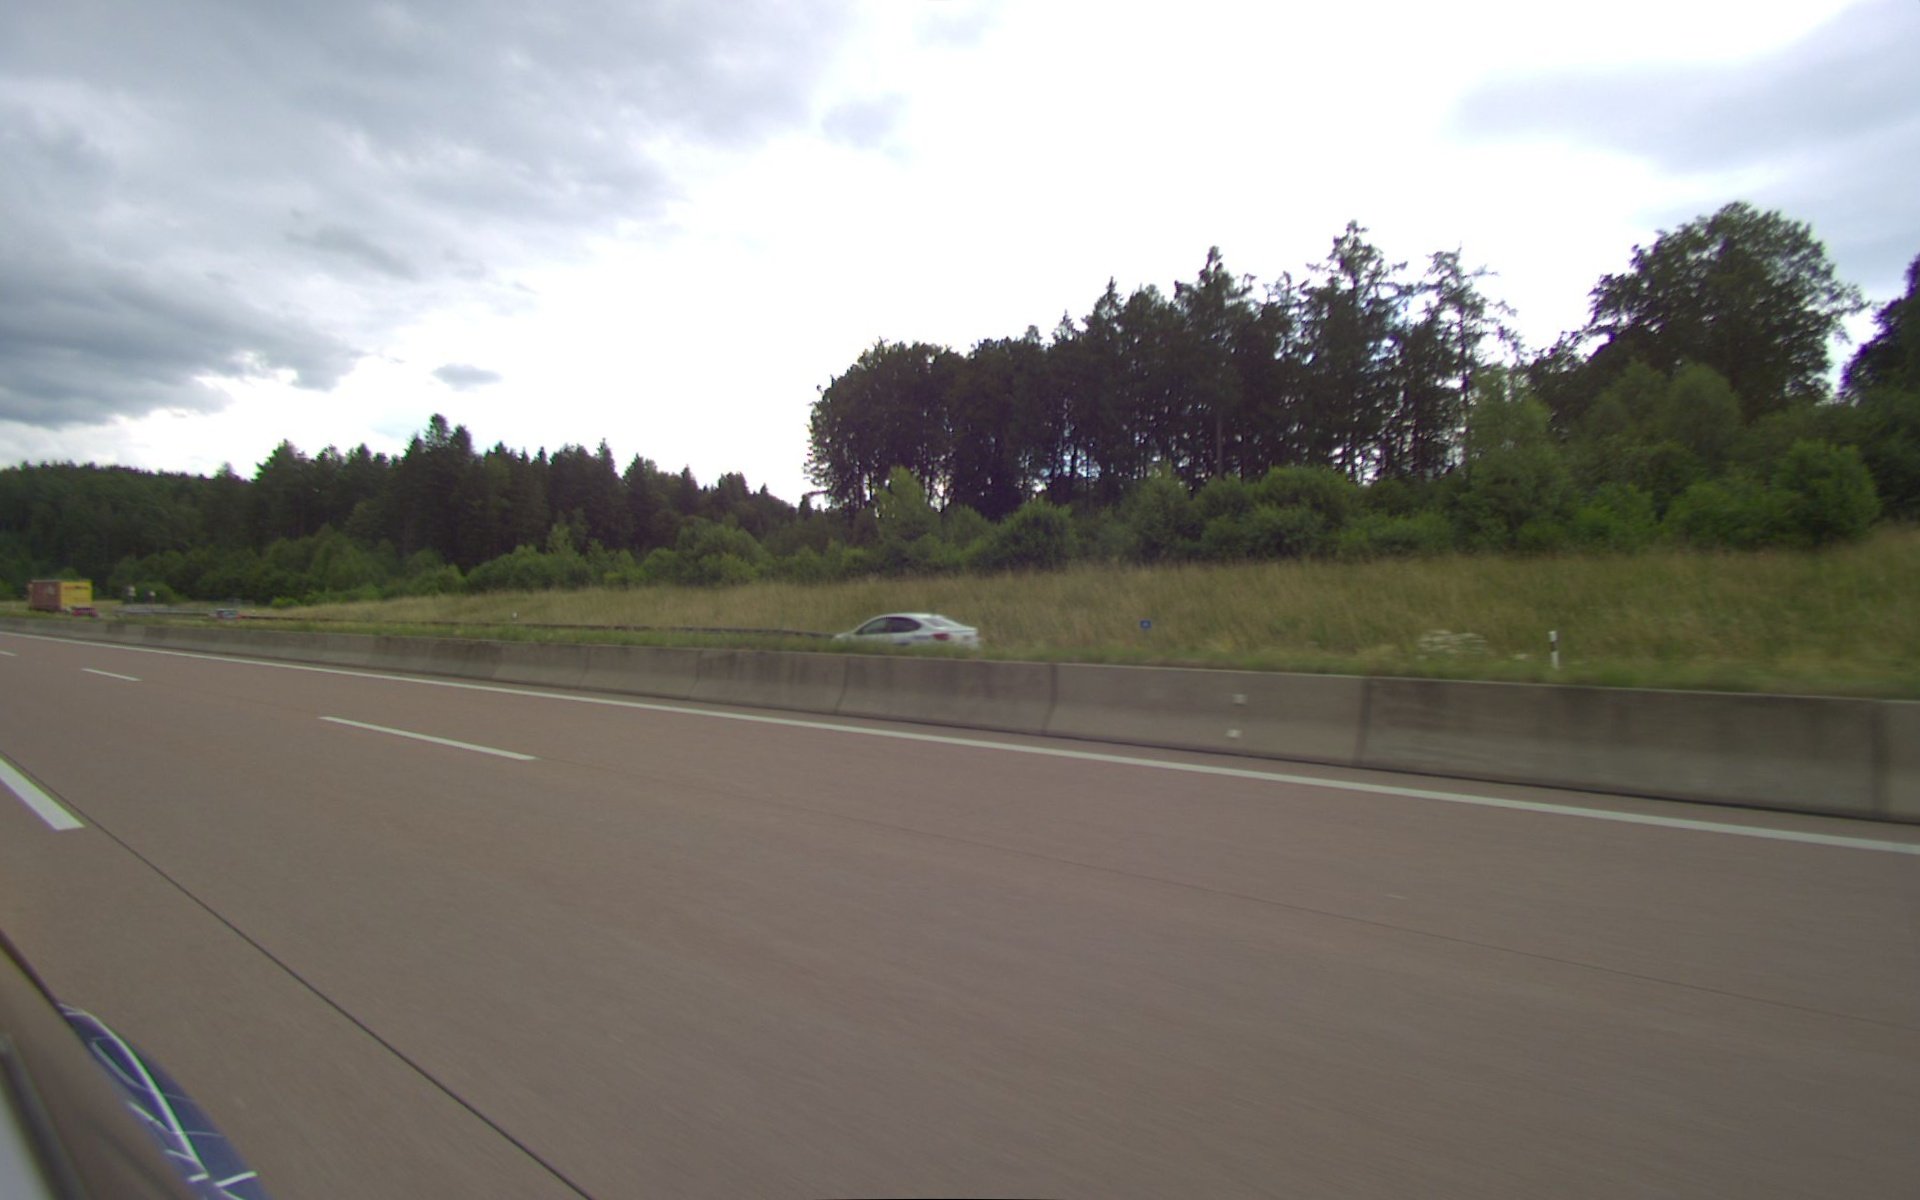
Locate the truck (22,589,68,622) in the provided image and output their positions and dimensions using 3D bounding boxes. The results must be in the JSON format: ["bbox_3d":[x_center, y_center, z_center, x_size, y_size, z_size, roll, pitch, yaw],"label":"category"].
[{"bbox_3d":[-103.542,0.646,114.519,6.051,3.609,2.982,-1,0,39],"label":"truck"}]

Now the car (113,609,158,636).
[{"bbox_3d":[-58.538,1.588,71.811,3.998,1.829,1.788,-1,-1,41],"label":"car"}]

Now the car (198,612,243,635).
[{"bbox_3d":[-54.776,1.753,74.921,4.377,1.650,1.744,-1,-1,41],"label":"car"}]

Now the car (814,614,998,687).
[{"bbox_3d":[-1.454,1.206,25.673,4.822,1.536,1.653,1,1,39],"label":"car"}]

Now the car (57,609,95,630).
[{"bbox_3d":[-76.362,1.690,87.413,4.375,1.650,1.745,1,1,39],"label":"car"}]

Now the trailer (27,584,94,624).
[{"bbox_3d":[-97.790,0.419,109.909,14.512,4.072,3.004,0,0,39],"label":"trailer"}]
